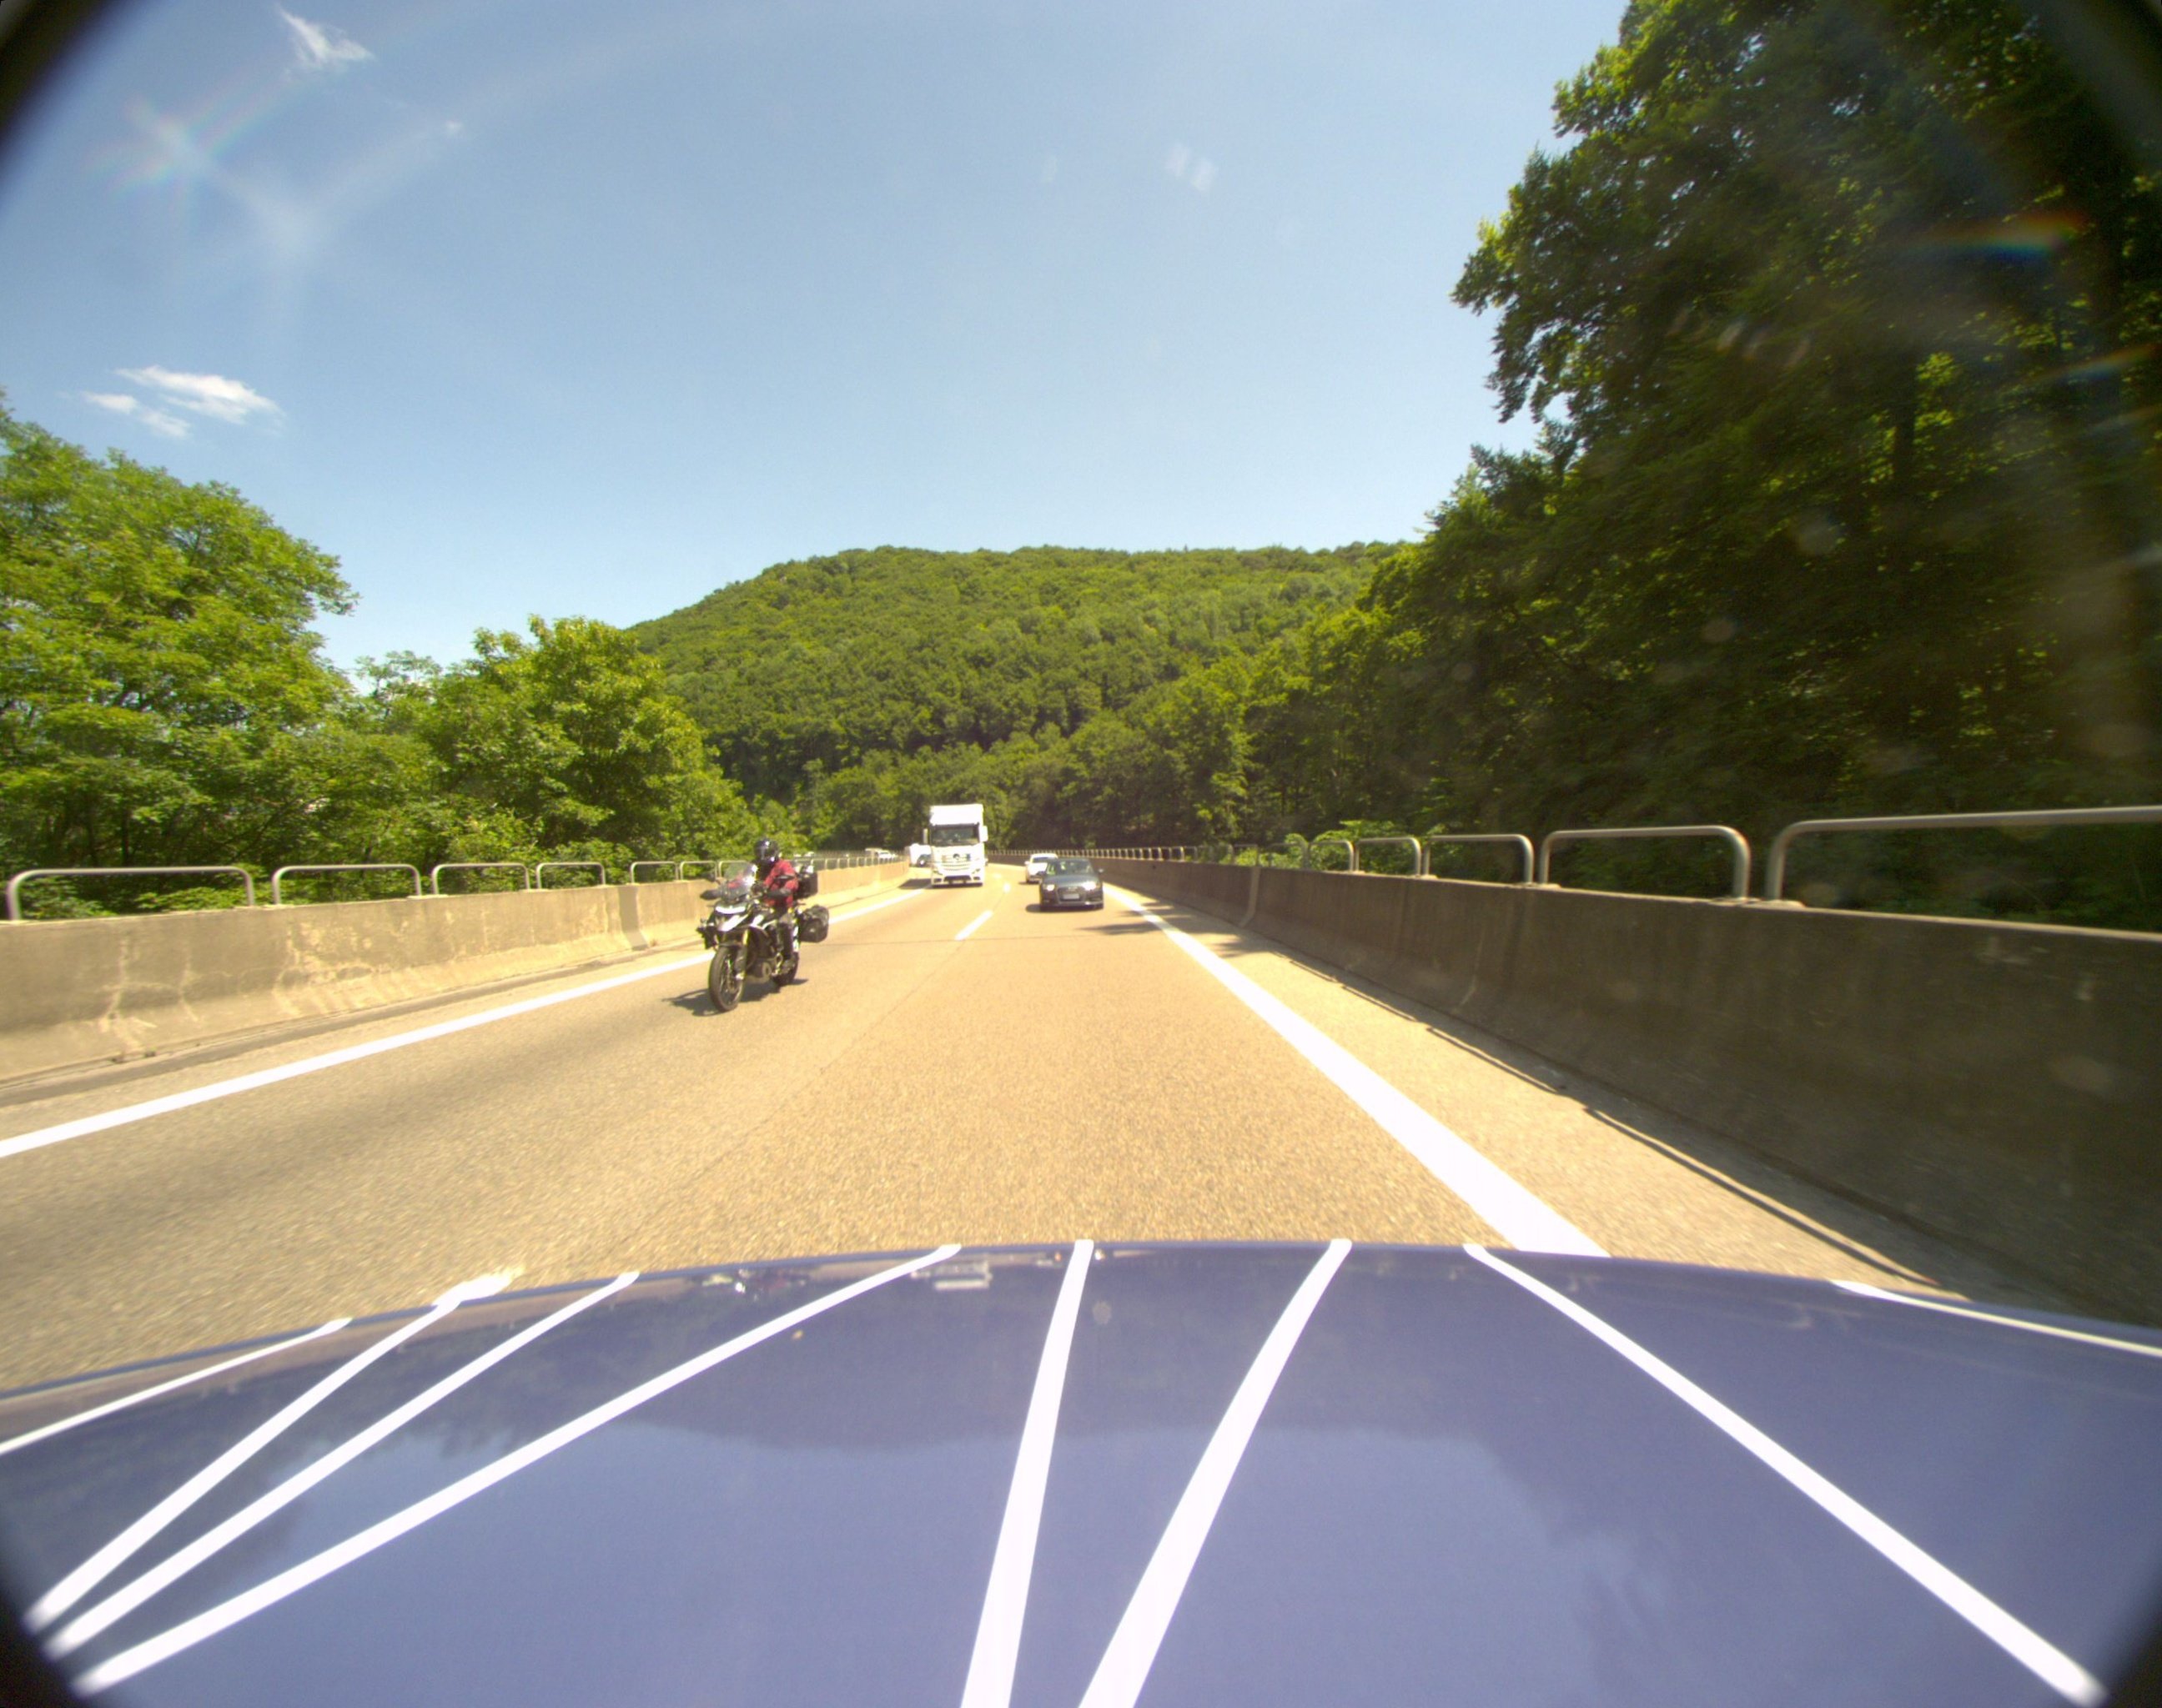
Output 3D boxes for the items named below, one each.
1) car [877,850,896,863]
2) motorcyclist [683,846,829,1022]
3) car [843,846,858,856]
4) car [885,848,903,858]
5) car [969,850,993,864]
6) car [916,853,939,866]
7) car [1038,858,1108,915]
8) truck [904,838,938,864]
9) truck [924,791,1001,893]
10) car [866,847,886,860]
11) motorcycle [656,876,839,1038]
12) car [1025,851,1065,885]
[{"bbox_3d":[-31.006,0.391,120.982,2.003,2.002,3.991,-1,1,-28],"label":"car"},{"bbox_3d":[-3.596,0.826,8.569,1.063,1.790,1.337,-2,1,-4],"label":"motorcyclist"},{"bbox_3d":[-48.105,-0.614,158.623,2.003,1.783,3.990,-3,1,-32],"label":"car"},{"bbox_3d":[-33.201,-0.154,135.168,2.003,1.783,3.990,-2,1,-30],"label":"car"},{"bbox_3d":[-11.050,0.348,83.576,1.758,1.480,3.975,-2,1,-20],"label":"car"},{"bbox_3d":[-17.922,0.622,88.681,1.759,1.480,3.974,-1,1,-24],"label":"car"},{"bbox_3d":[-0.252,0.832,21.316,1.755,1.350,4.121,-1,0,-2],"label":"car"},{"bbox_3d":[-19.834,-0.342,93.837,2.622,3.084,6.841,-2,1,-24],"label":"truck"},{"bbox_3d":[-6.520,-0.560,39.547,2.971,4.109,16.688,-2,1,-11],"label":"truck"},{"bbox_3d":[-34.099,-0.062,126.195,2.003,2.002,3.990,-2,1,-33],"label":"car"},{"bbox_3d":[-3.608,1.023,8.607,0.975,1.411,2.680,-2,1,-3],"label":"motorcycle"},{"bbox_3d":[-1.876,0.643,38.297,1.756,1.460,3.979,-4,1,-5],"label":"car"}]
